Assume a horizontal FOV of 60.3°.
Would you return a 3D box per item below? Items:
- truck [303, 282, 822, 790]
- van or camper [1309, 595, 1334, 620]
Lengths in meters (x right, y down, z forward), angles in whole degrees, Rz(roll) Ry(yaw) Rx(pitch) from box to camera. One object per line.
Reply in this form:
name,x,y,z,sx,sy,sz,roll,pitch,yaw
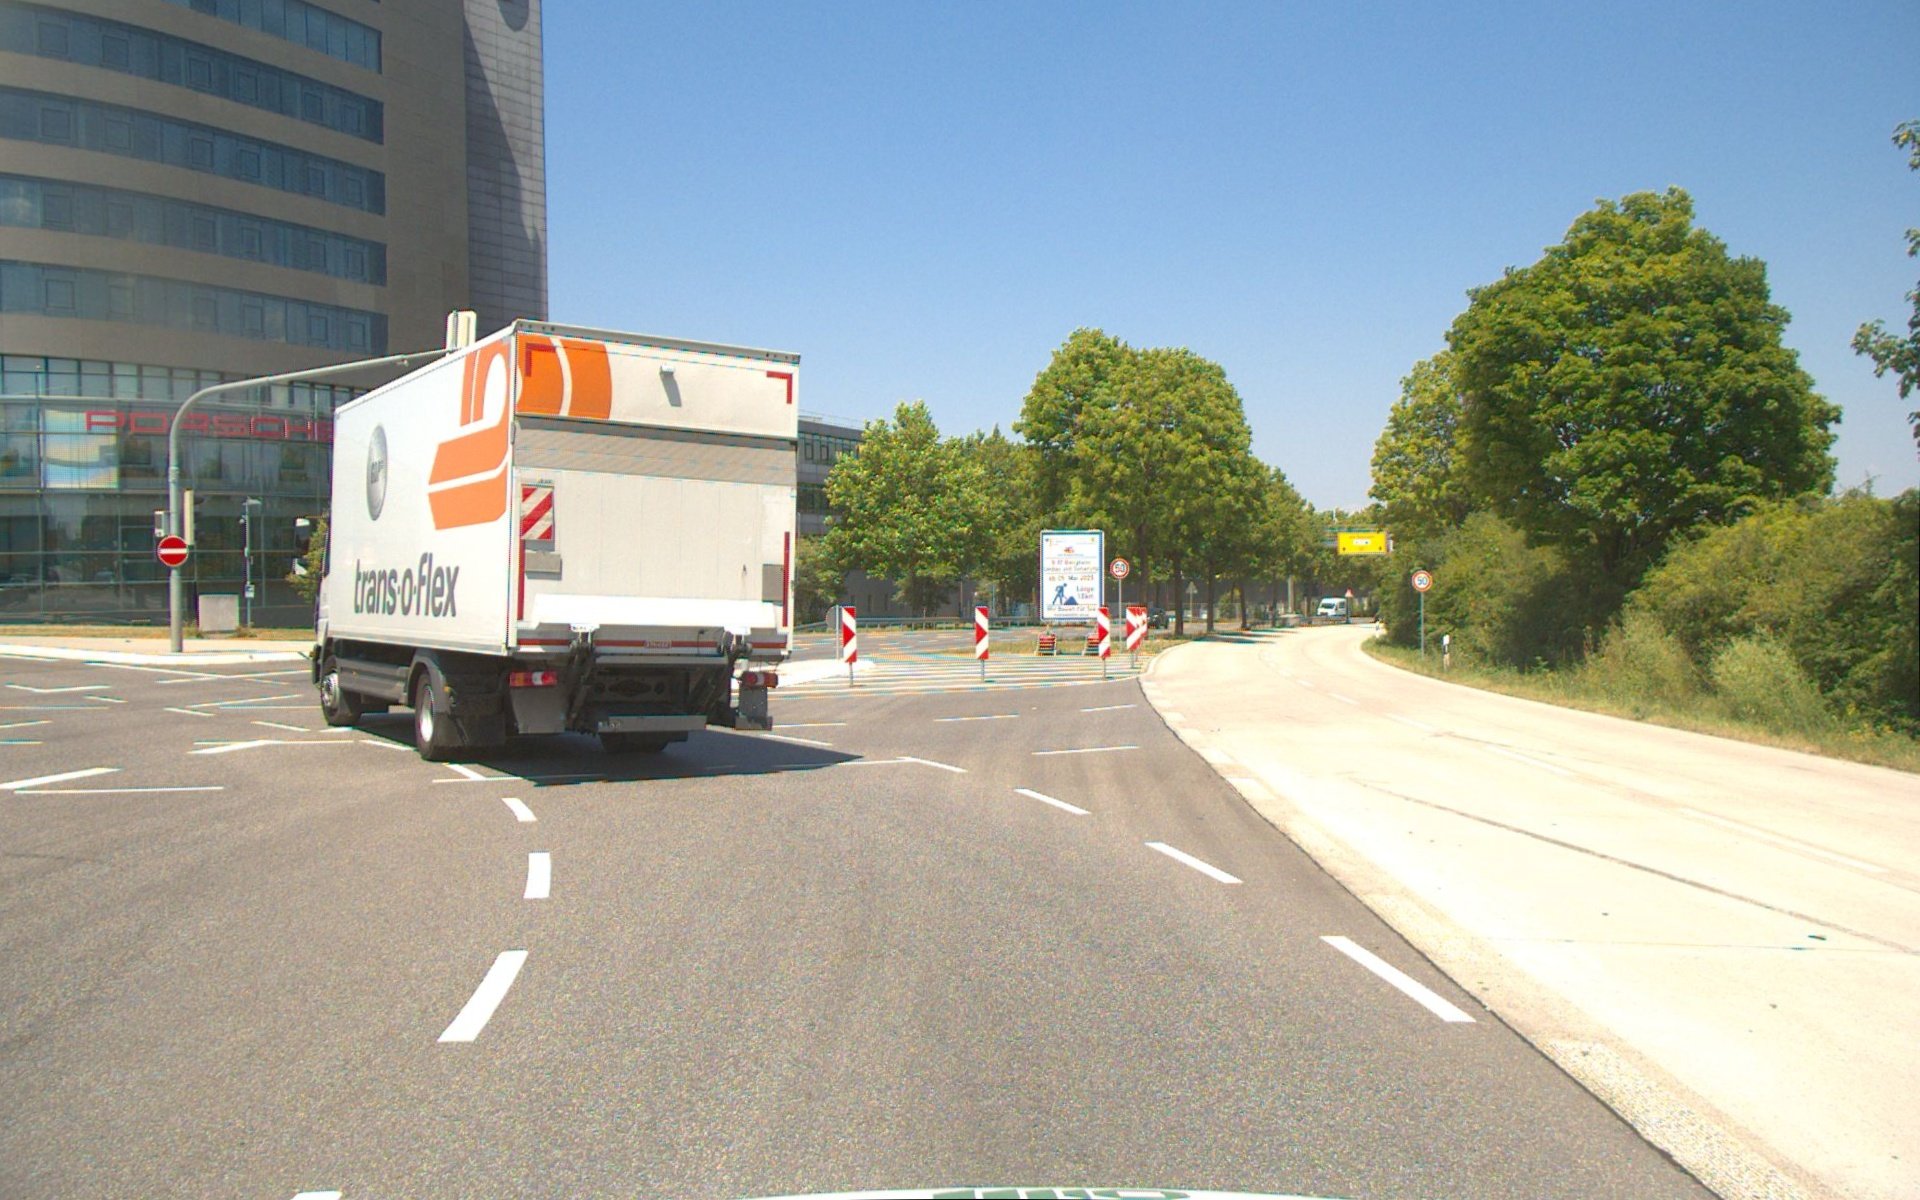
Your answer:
truck,-4.718,-0.499,17.493,2.741,3.927,9.272,0,0,-31
van or camper,40.540,0.829,185.428,1.954,2.729,3.996,0,-1,26
